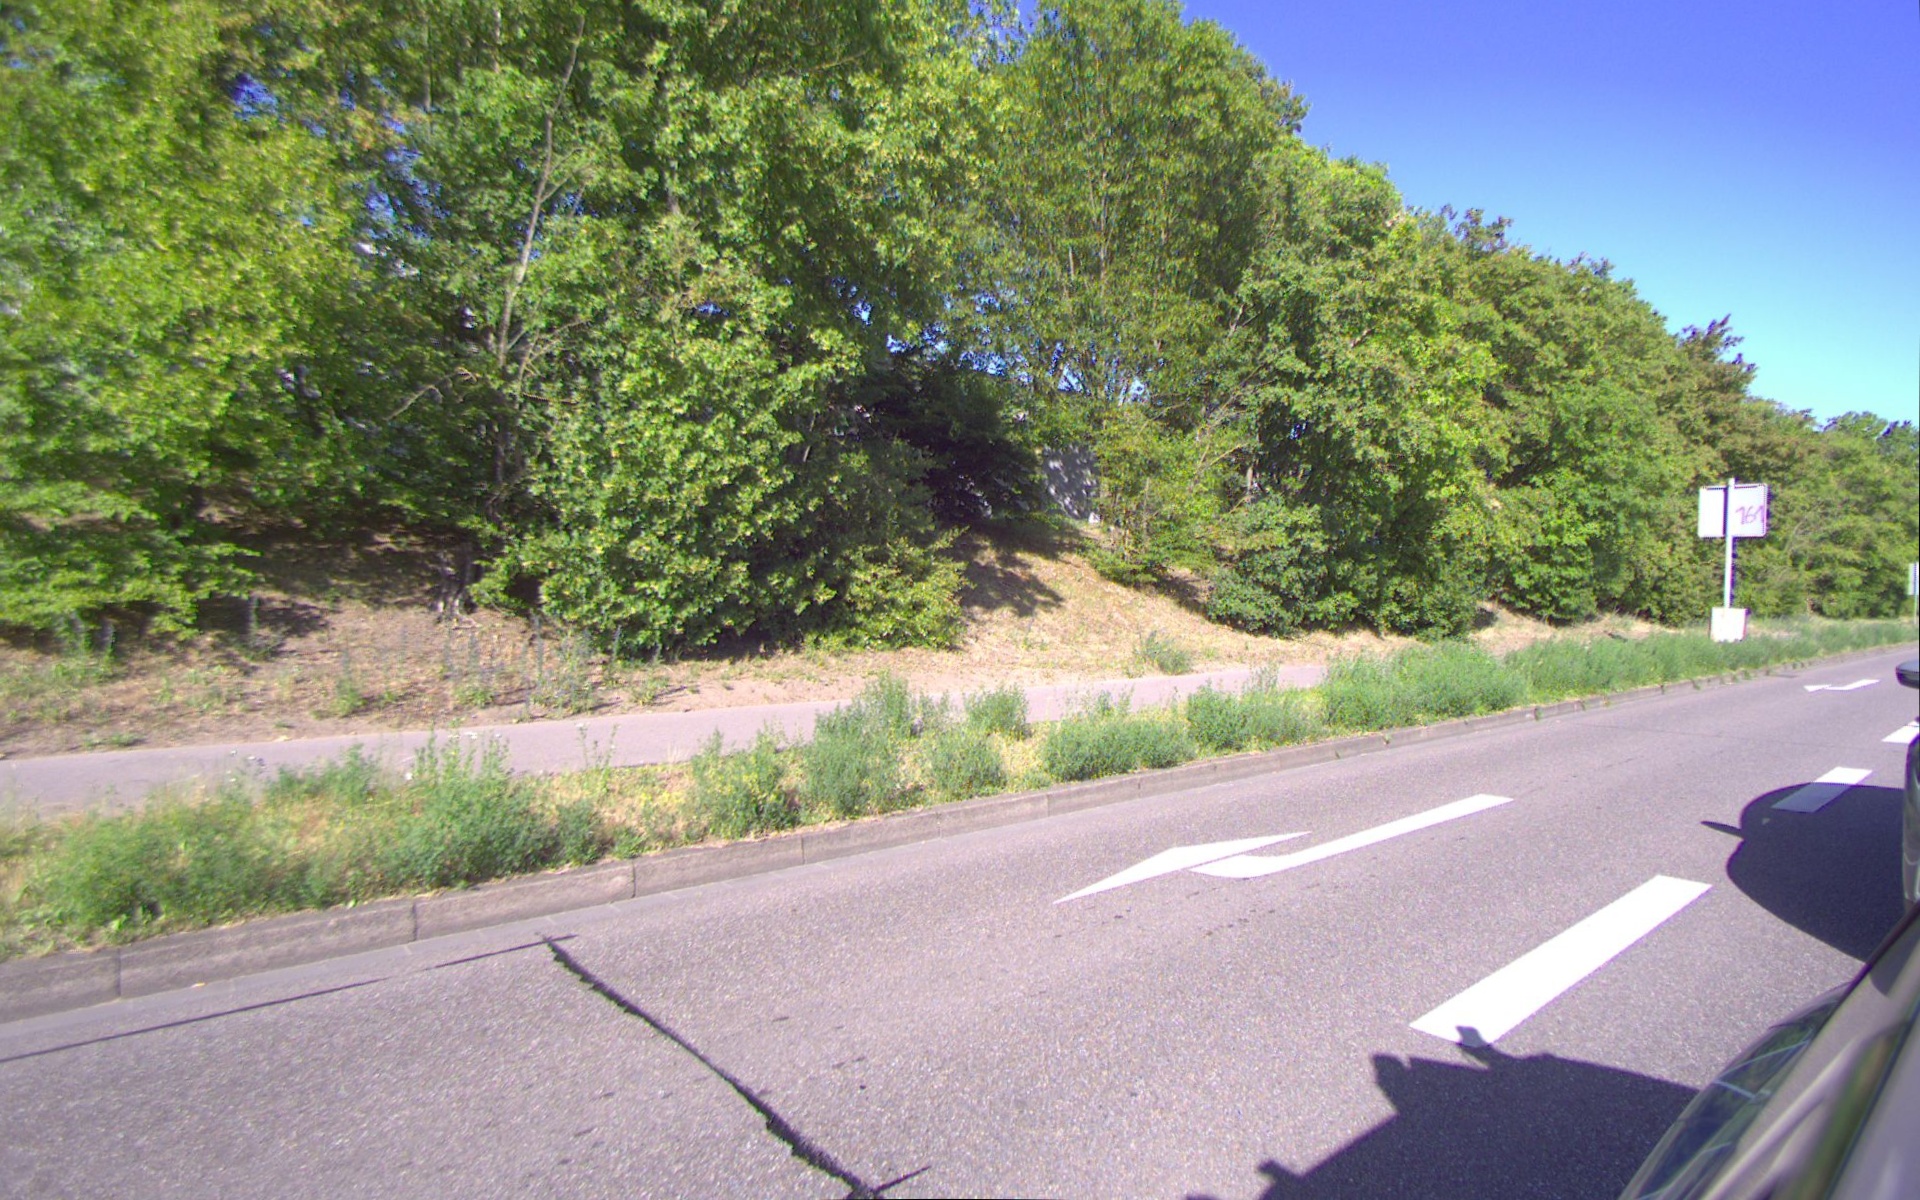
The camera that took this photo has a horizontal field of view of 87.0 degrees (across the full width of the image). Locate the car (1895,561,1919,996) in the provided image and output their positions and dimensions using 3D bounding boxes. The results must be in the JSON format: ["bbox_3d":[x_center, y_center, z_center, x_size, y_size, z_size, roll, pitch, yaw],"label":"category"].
[{"bbox_3d":[5.708,0.659,4.521,4.327,1.603,1.860,0,0,-42],"label":"car"}]
